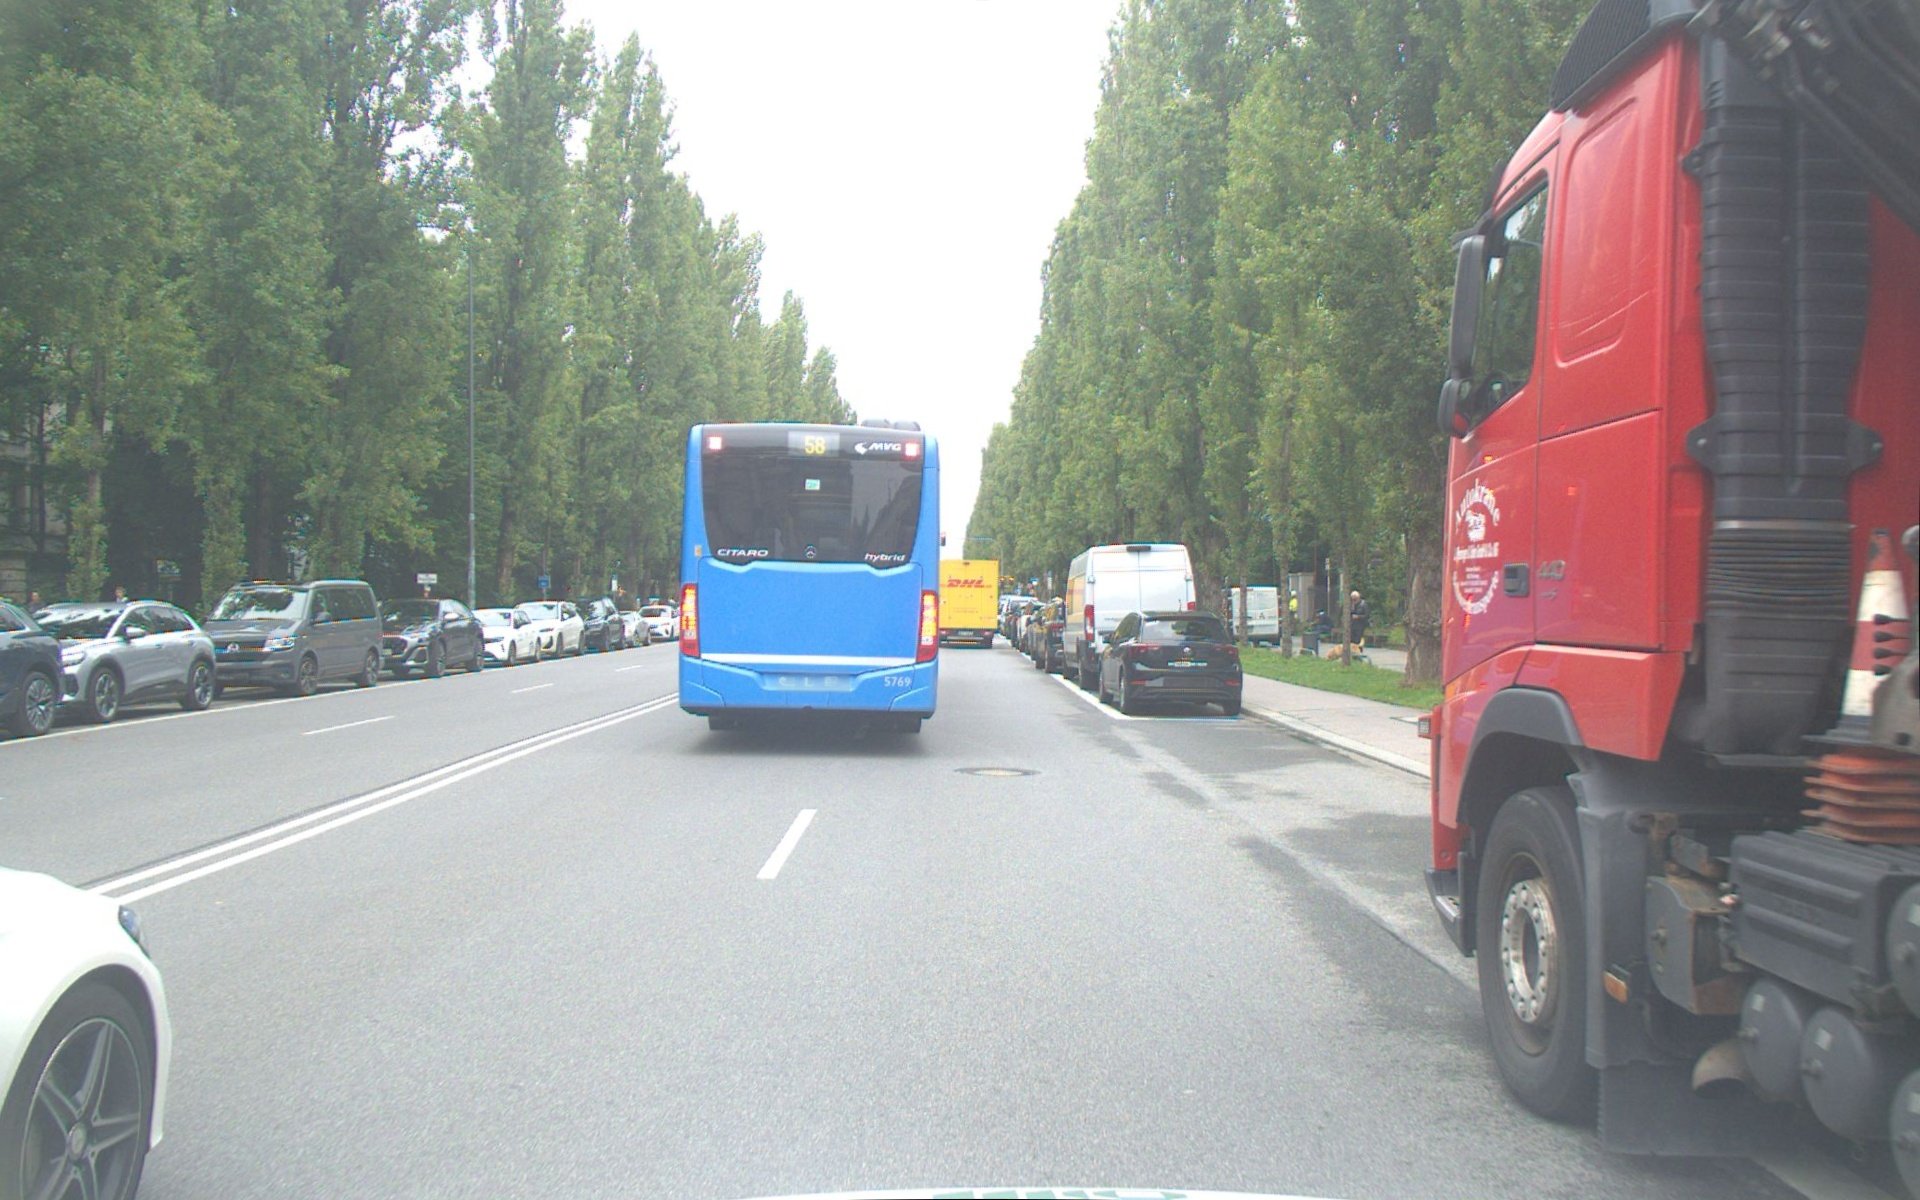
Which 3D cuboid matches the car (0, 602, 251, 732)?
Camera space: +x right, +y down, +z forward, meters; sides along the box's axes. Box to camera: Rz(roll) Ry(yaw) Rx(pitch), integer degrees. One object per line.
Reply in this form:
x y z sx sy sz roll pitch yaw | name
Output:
-11.937 0.857 23.356 1.852 1.612 4.653 -1 0 -1 | car

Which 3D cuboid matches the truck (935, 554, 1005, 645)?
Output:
0.263 -0.013 57.463 2.280 2.949 7.331 0 0 -1 | truck

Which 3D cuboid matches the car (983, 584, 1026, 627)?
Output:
2.191 0.255 83.438 2.010 2.049 5.692 0 0 0 | car

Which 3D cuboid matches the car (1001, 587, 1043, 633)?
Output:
2.798 0.431 75.180 1.769 2.011 4.236 0 0 0 | car

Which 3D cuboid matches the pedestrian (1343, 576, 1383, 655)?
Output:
9.688 0.370 39.820 0.643 1.871 0.783 0 0 -14 | pedestrian

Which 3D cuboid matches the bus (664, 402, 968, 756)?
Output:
-1.550 -0.201 19.934 2.799 3.270 9.054 0 0 -3 | bus

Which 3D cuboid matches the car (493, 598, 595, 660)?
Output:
-12.014 0.814 47.985 1.749 1.616 4.461 -2 0 0 | car

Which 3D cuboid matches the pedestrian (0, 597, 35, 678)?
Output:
-20.555 0.810 35.994 0.498 1.737 0.569 0 0 0 | pedestrian

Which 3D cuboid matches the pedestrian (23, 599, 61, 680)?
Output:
-19.996 0.857 36.039 0.498 1.737 0.569 0 0 0 | pedestrian

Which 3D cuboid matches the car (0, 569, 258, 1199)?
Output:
-2.634 0.668 1.814 1.788 1.480 4.582 1 0 -1 | car

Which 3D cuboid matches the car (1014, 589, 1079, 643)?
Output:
2.733 0.487 52.876 1.745 1.609 4.146 2 0 -1 | car

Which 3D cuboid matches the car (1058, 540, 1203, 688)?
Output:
3.142 0.234 31.828 2.032 2.522 6.282 1 0 -1 | car

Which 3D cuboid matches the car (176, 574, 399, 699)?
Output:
-11.858 0.584 29.564 1.953 1.990 4.936 -2 0 -1 | car

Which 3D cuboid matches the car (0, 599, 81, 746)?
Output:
-11.584 0.848 17.822 1.746 1.624 4.613 -2 0 -1 | car

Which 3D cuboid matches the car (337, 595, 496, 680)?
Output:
-11.671 0.758 35.906 1.778 1.637 5.052 -2 0 -1 | car

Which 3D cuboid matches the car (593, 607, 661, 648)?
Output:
-11.936 0.963 59.489 1.548 1.327 4.028 -2 0 0 | car

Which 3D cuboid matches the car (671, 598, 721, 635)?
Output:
-12.341 0.766 77.480 1.778 1.672 3.999 0 0 -1 | car

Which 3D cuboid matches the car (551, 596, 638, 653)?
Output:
-11.863 0.751 53.959 1.842 1.687 4.716 -3 0 -2 | car

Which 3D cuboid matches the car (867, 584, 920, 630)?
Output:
-2.679 0.274 67.869 1.994 1.833 4.507 0 0 0 | car

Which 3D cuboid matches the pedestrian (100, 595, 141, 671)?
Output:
-20.044 0.778 39.507 0.596 1.787 0.757 0 0 -2 | pedestrian

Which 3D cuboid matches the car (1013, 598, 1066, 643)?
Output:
2.772 0.689 58.544 1.690 1.521 4.324 0 0 0 | car

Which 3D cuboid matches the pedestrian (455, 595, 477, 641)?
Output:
-20.088 0.725 67.269 0.627 1.847 0.775 0 0 -1 | pedestrian

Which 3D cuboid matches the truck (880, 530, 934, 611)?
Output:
-2.851 -1.482 86.891 2.661 4.035 9.213 0 0 -3 | truck

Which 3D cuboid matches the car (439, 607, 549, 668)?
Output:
-11.888 0.922 42.462 1.642 1.447 4.236 -2 0 -1 | car

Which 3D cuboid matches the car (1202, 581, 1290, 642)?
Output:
9.636 0.372 56.110 1.953 1.959 5.322 0 0 -1 | car

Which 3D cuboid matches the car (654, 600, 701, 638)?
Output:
-12.376 0.829 72.602 1.709 1.545 4.113 -2 0 -6 | car

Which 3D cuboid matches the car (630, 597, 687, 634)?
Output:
-12.378 0.623 68.065 1.651 1.437 4.003 -2 0 -1 | car

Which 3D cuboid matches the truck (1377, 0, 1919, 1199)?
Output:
3.039 -0.109 1.482 2.658 3.164 10.425 0 0 0 | truck

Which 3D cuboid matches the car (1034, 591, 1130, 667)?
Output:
2.726 0.633 37.748 1.784 1.618 4.222 1 0 -1 | car

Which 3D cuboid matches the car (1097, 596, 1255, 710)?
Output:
3.098 0.720 24.471 1.719 1.475 3.999 2 0 -1 | car
